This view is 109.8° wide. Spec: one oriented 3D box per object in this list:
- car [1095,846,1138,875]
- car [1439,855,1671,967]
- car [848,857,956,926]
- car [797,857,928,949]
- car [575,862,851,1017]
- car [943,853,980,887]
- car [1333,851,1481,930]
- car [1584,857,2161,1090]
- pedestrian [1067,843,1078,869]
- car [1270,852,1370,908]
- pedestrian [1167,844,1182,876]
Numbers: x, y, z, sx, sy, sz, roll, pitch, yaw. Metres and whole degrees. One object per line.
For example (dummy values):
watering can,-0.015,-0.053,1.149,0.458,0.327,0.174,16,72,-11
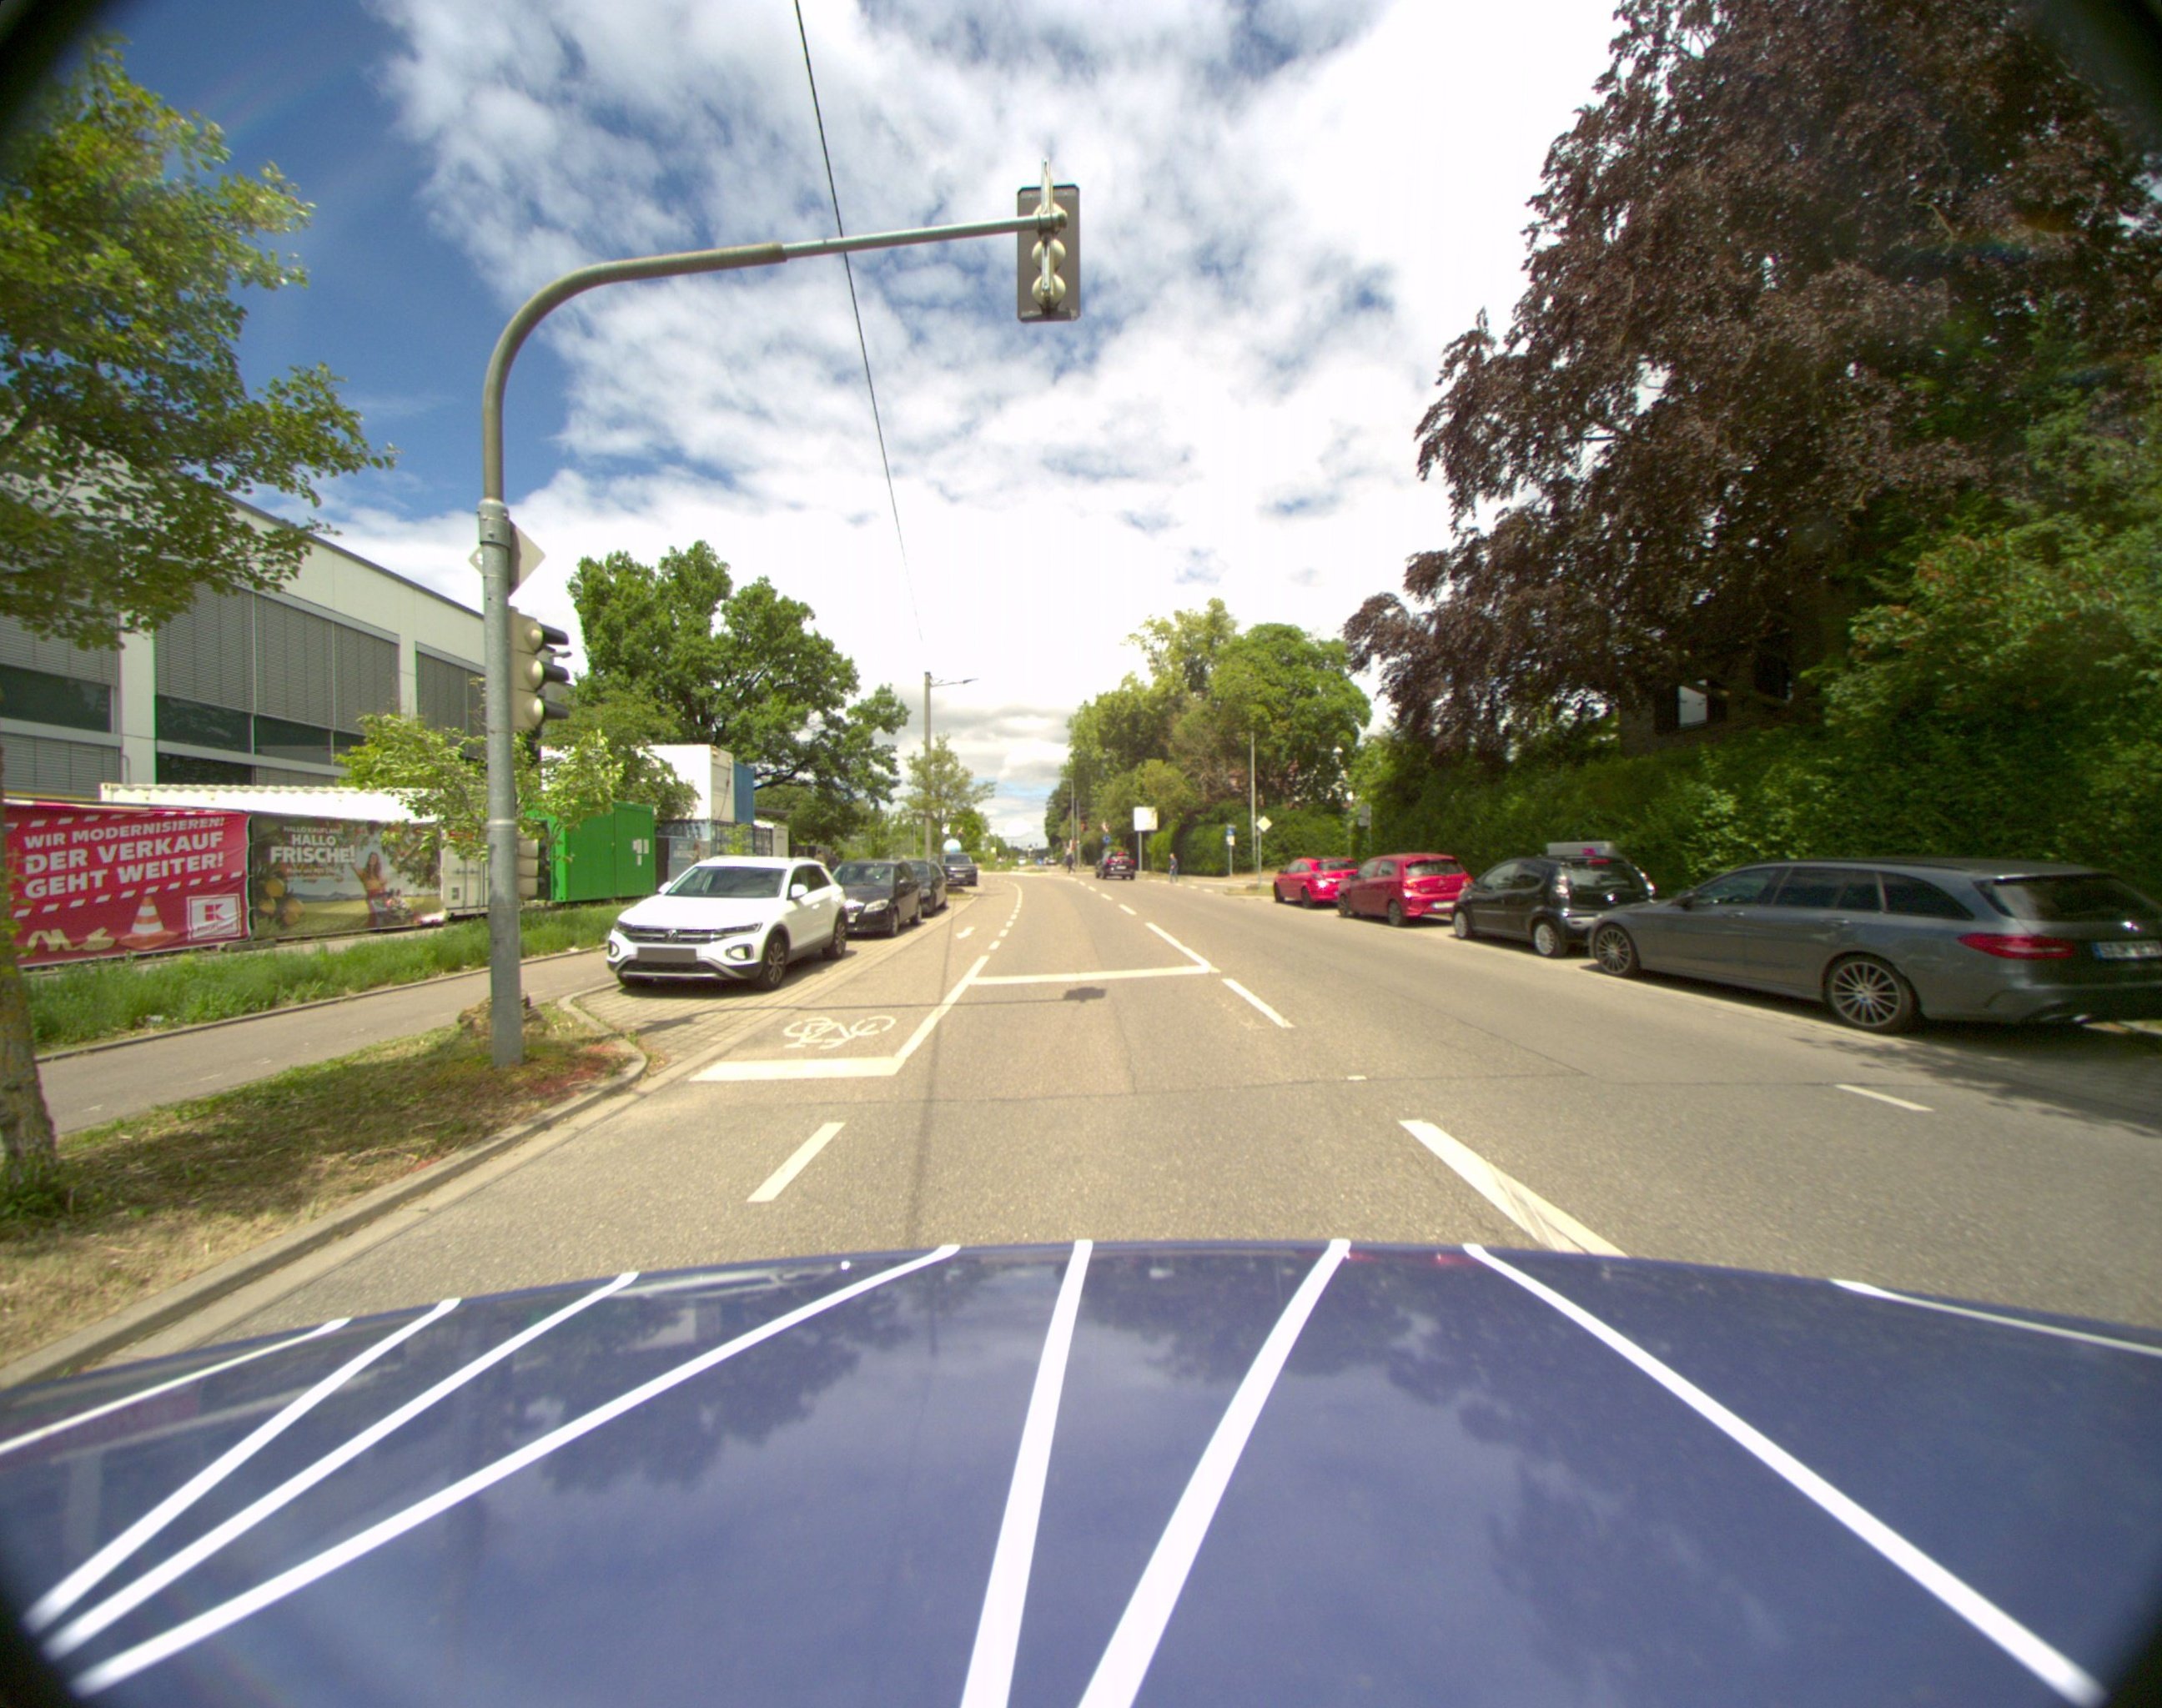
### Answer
car,2.039,0.326,44.589,1.851,1.546,3.947,-2,1,-6
car,7.224,0.779,11.950,1.559,1.404,3.192,-2,1,-2
car,-4.627,0.917,20.266,1.999,1.519,3.809,-2,1,-1
car,-4.321,0.894,15.614,1.602,1.552,3.790,1,1,-1
car,-4.478,0.929,9.989,1.795,1.522,3.920,1,1,-2
car,-6.006,0.757,38.501,1.706,1.522,3.997,-2,1,-8
car,6.935,0.704,16.528,1.523,1.469,3.323,-2,1,-5
car,7.267,0.829,7.410,1.687,1.408,4.400,-2,1,-2
pedestrian,-0.634,0.159,60.006,0.699,2.002,0.724,-2,1,8
car,6.735,0.689,21.730,1.530,1.359,3.373,-2,1,-5
pedestrian,4.931,0.331,40.190,0.553,1.663,0.588,-2,1,-14
